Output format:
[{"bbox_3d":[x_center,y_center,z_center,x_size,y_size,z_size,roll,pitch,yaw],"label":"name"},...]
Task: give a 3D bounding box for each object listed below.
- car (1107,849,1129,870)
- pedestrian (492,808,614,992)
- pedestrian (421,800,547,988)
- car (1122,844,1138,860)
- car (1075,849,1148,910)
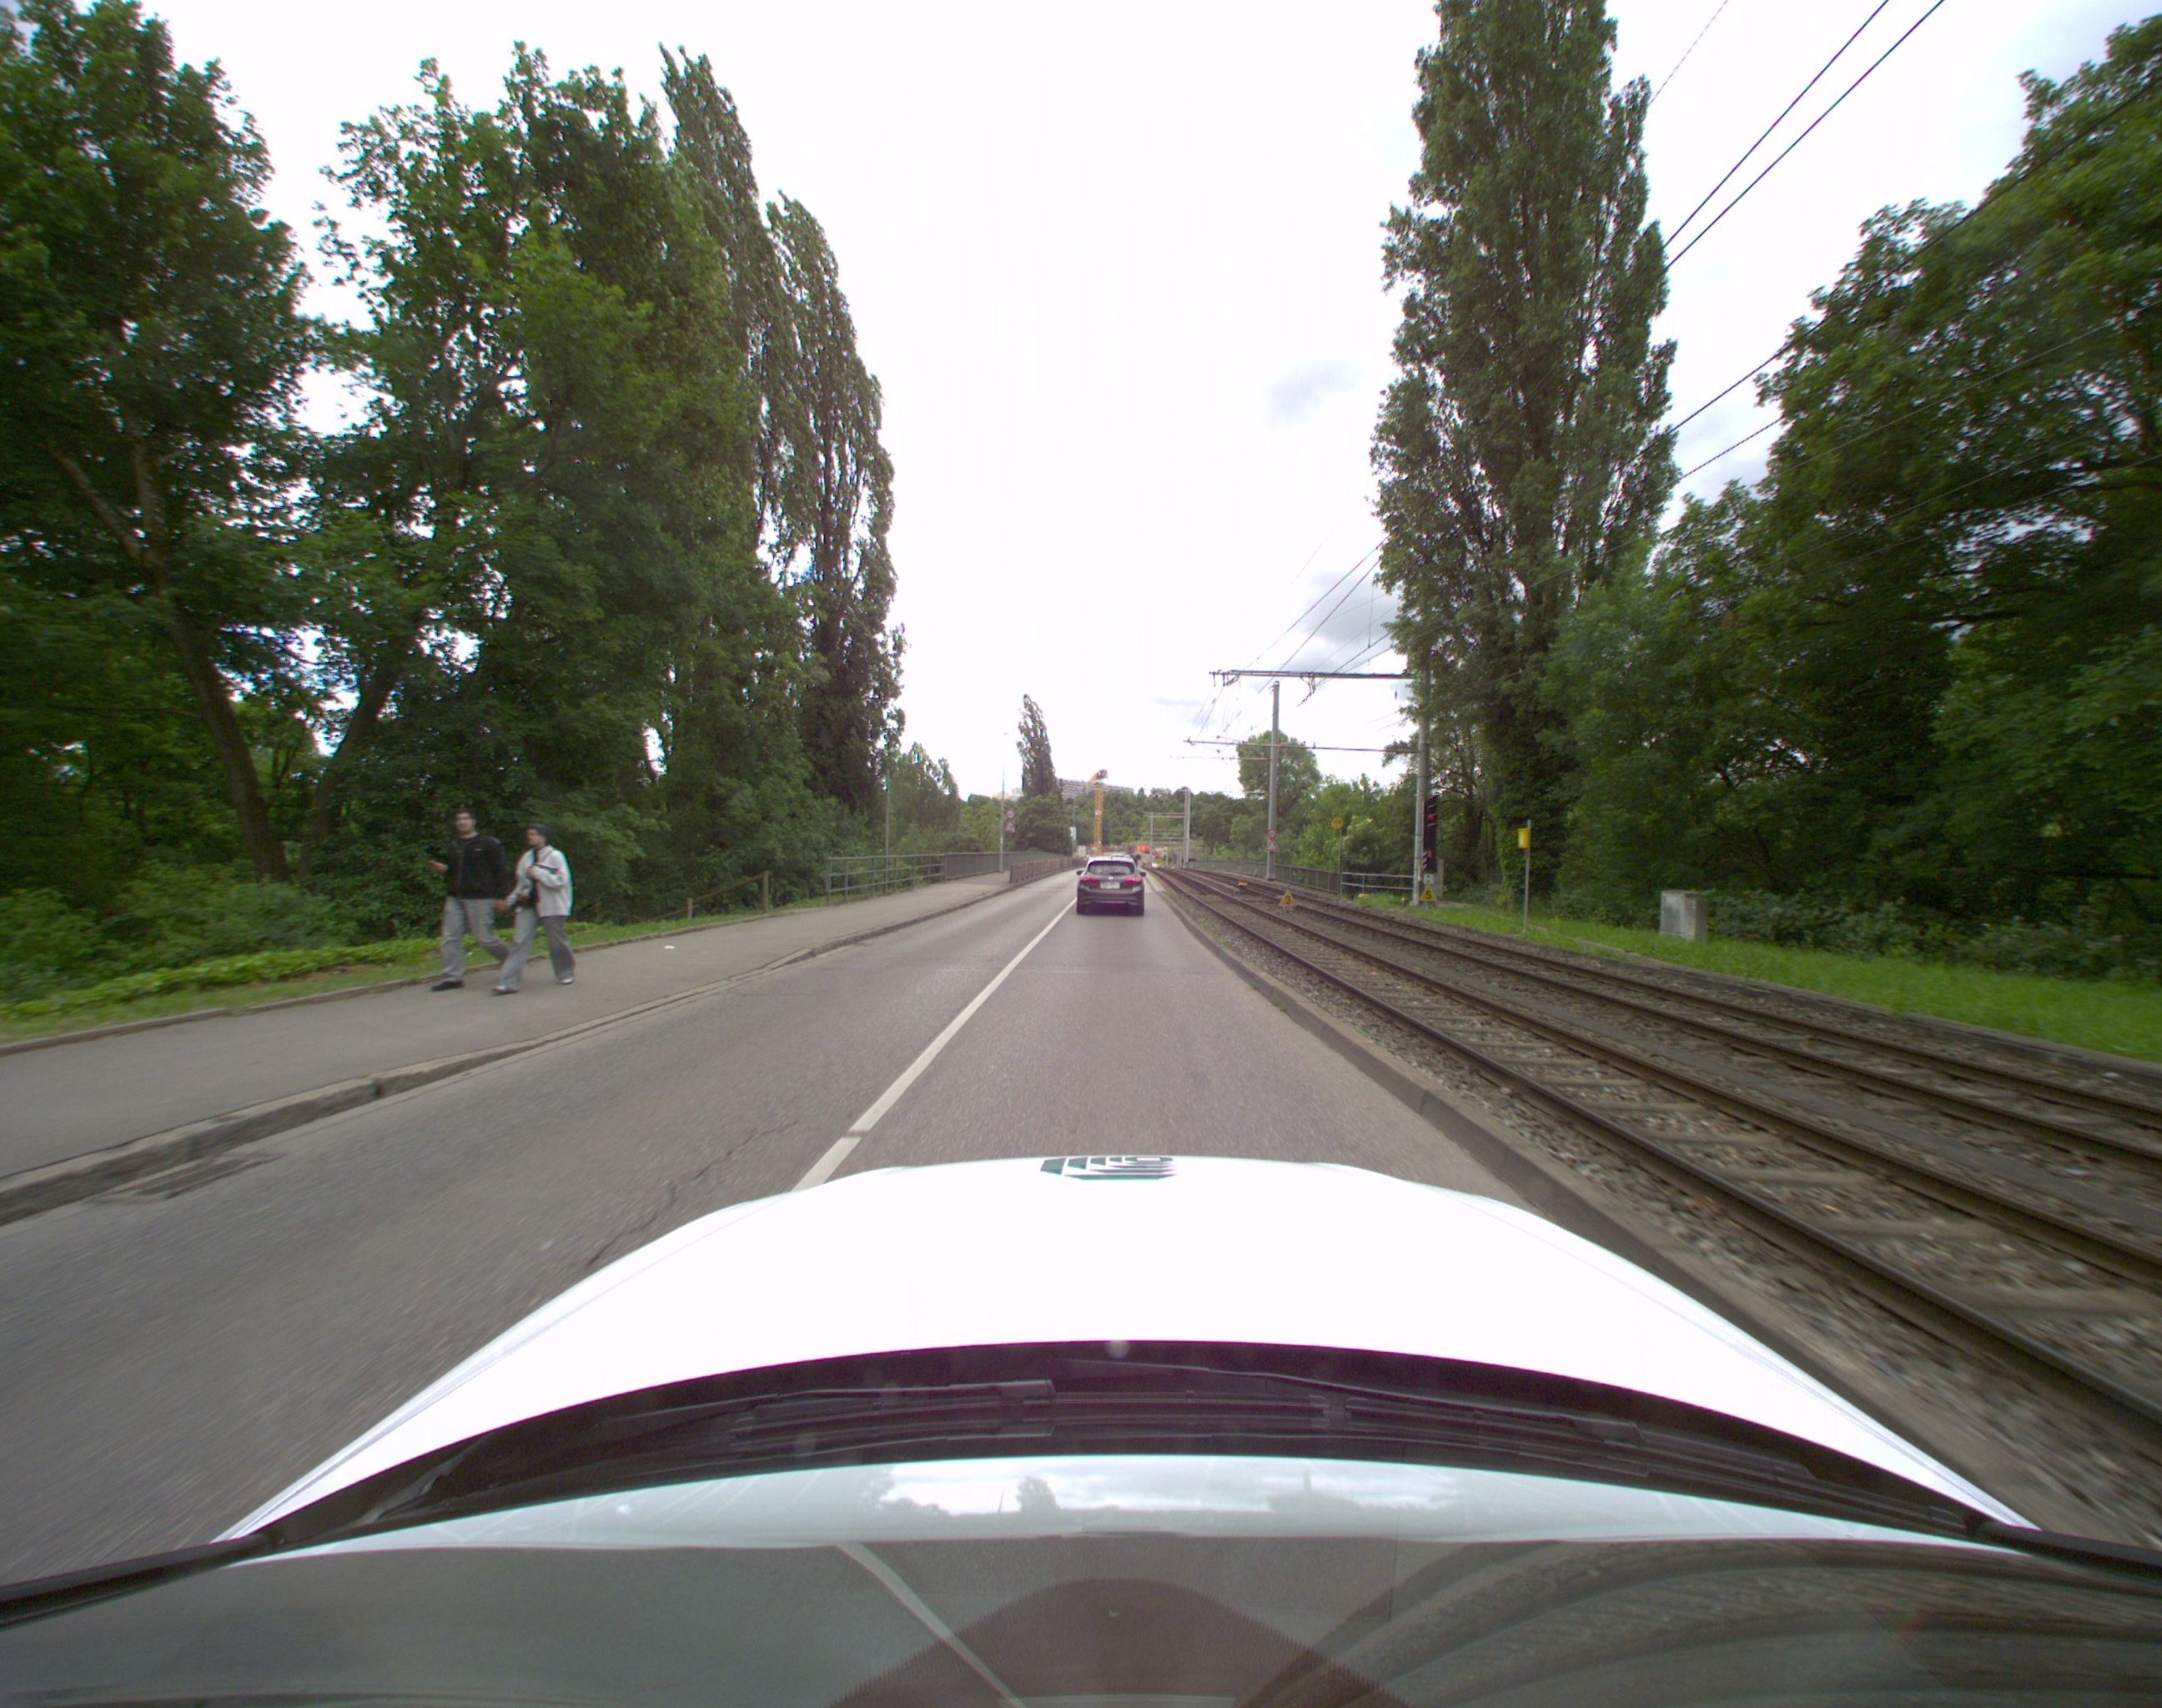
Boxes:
[{"bbox_3d":[3.141,0.415,69.368,1.674,1.606,4.310,2,1,1],"label":"car"},{"bbox_3d":[-5.457,0.450,8.466,0.549,1.765,0.858,5,0,1],"label":"pedestrian"},{"bbox_3d":[-6.090,0.388,8.349,0.585,1.803,0.822,3,0,1],"label":"pedestrian"},{"bbox_3d":[5.513,-0.210,90.706,1.673,1.606,4.313,2,1,3],"label":"car"},{"bbox_3d":[0.745,0.661,22.541,1.824,1.510,3.998,1,-1,-1],"label":"car"}]
